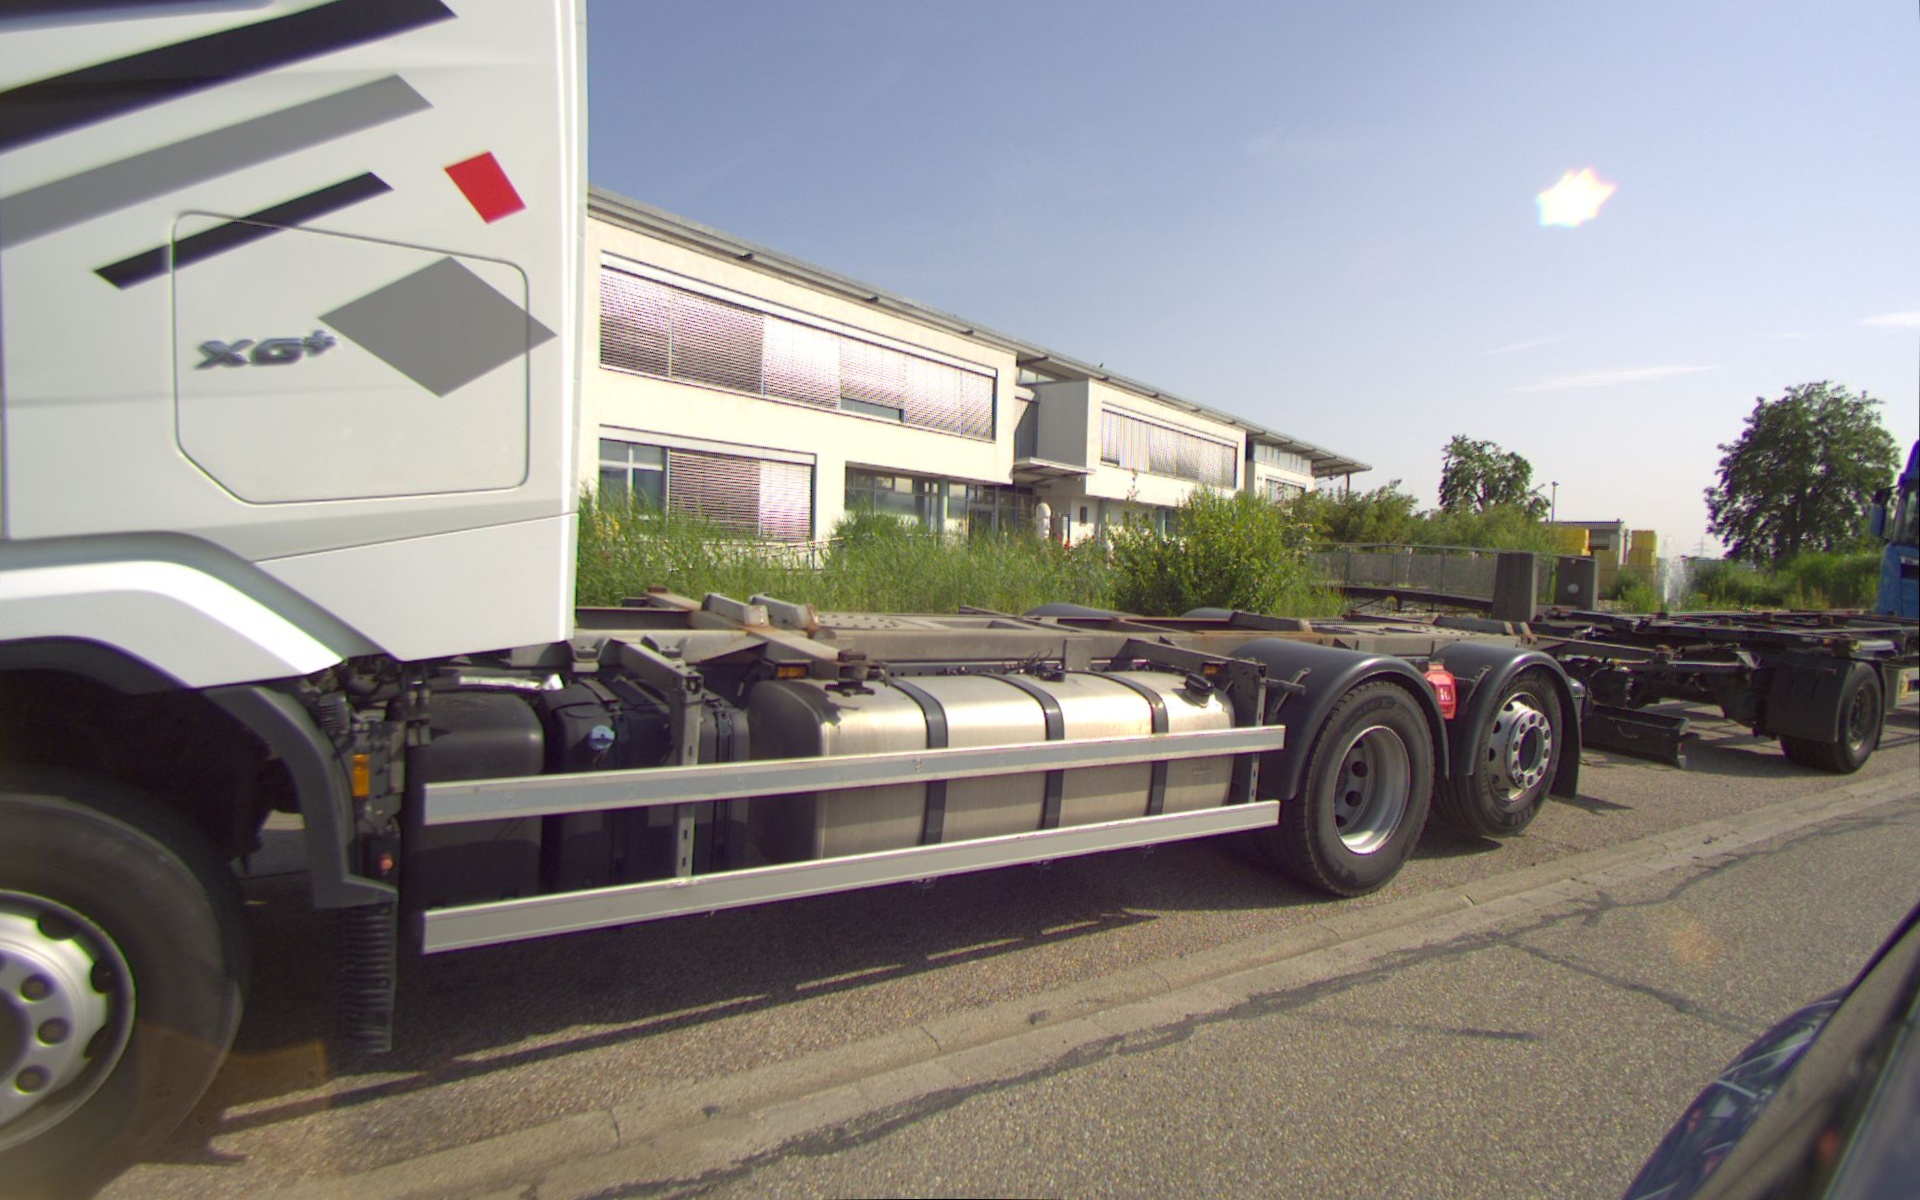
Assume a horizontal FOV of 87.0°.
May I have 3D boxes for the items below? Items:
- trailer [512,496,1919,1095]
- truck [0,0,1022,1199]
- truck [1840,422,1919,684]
[{"bbox_3d":[5.242,0.363,8.008,15.852,1.592,2.759,0,5,-32],"label":"trailer"},{"bbox_3d":[-2.249,-0.644,3.237,3.921,4.028,2.760,0,5,-32],"label":"truck"},{"bbox_3d":[17.635,-0.643,15.723,9.562,3.575,2.903,-1,7,-31],"label":"truck"}]
